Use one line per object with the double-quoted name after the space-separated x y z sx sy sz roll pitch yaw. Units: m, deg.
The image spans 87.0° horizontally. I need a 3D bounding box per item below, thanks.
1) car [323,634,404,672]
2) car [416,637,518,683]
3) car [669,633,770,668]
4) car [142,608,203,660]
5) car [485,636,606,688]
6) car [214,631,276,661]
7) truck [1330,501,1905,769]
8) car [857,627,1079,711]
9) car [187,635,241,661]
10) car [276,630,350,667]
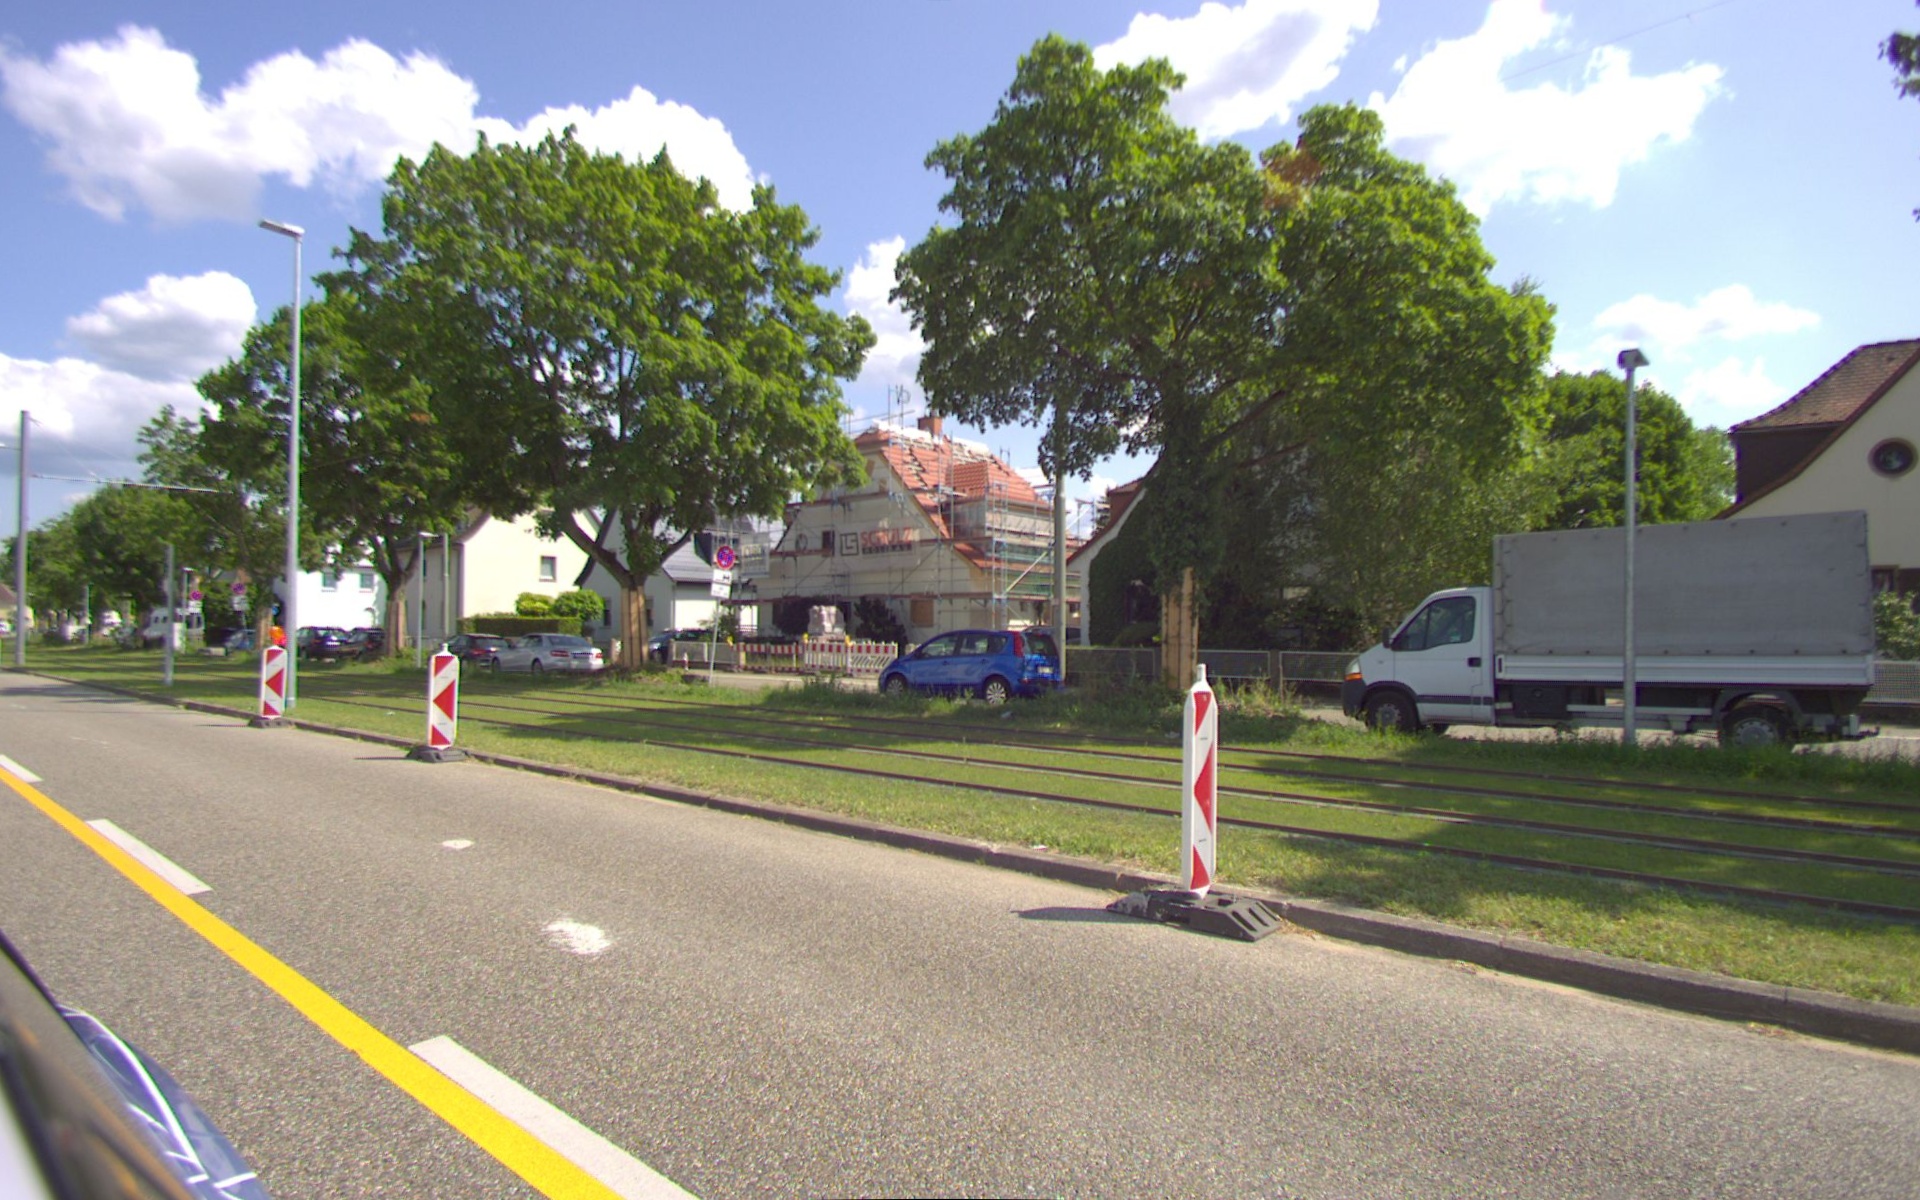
-25.180 2.254 42.648 4.403 1.497 1.680 -3 -3 41 "car"
-17.521 2.121 35.891 4.403 1.497 1.680 -3 -3 41 "car"
-10.926 2.295 46.208 1.702 1.497 4.345 -3 -3 41 "car"
-49.517 2.162 63.604 5.080 3.061 2.108 -3 -3 41 "car"
-13.099 1.933 31.836 4.520 1.497 1.765 -4 -3 42 "car"
-37.494 2.429 53.047 4.403 1.497 1.680 -3 -3 41 "car"
8.299 0.457 13.400 5.971 2.802 2.242 -2 -3 41 "truck"
0.072 1.354 20.285 4.403 1.497 1.680 -3 -3 41 "car"
-44.477 2.876 60.327 4.403 1.497 1.680 -3 -3 41 "car"
-29.495 2.226 46.071 4.403 1.584 1.680 -3 -3 41 "car"
